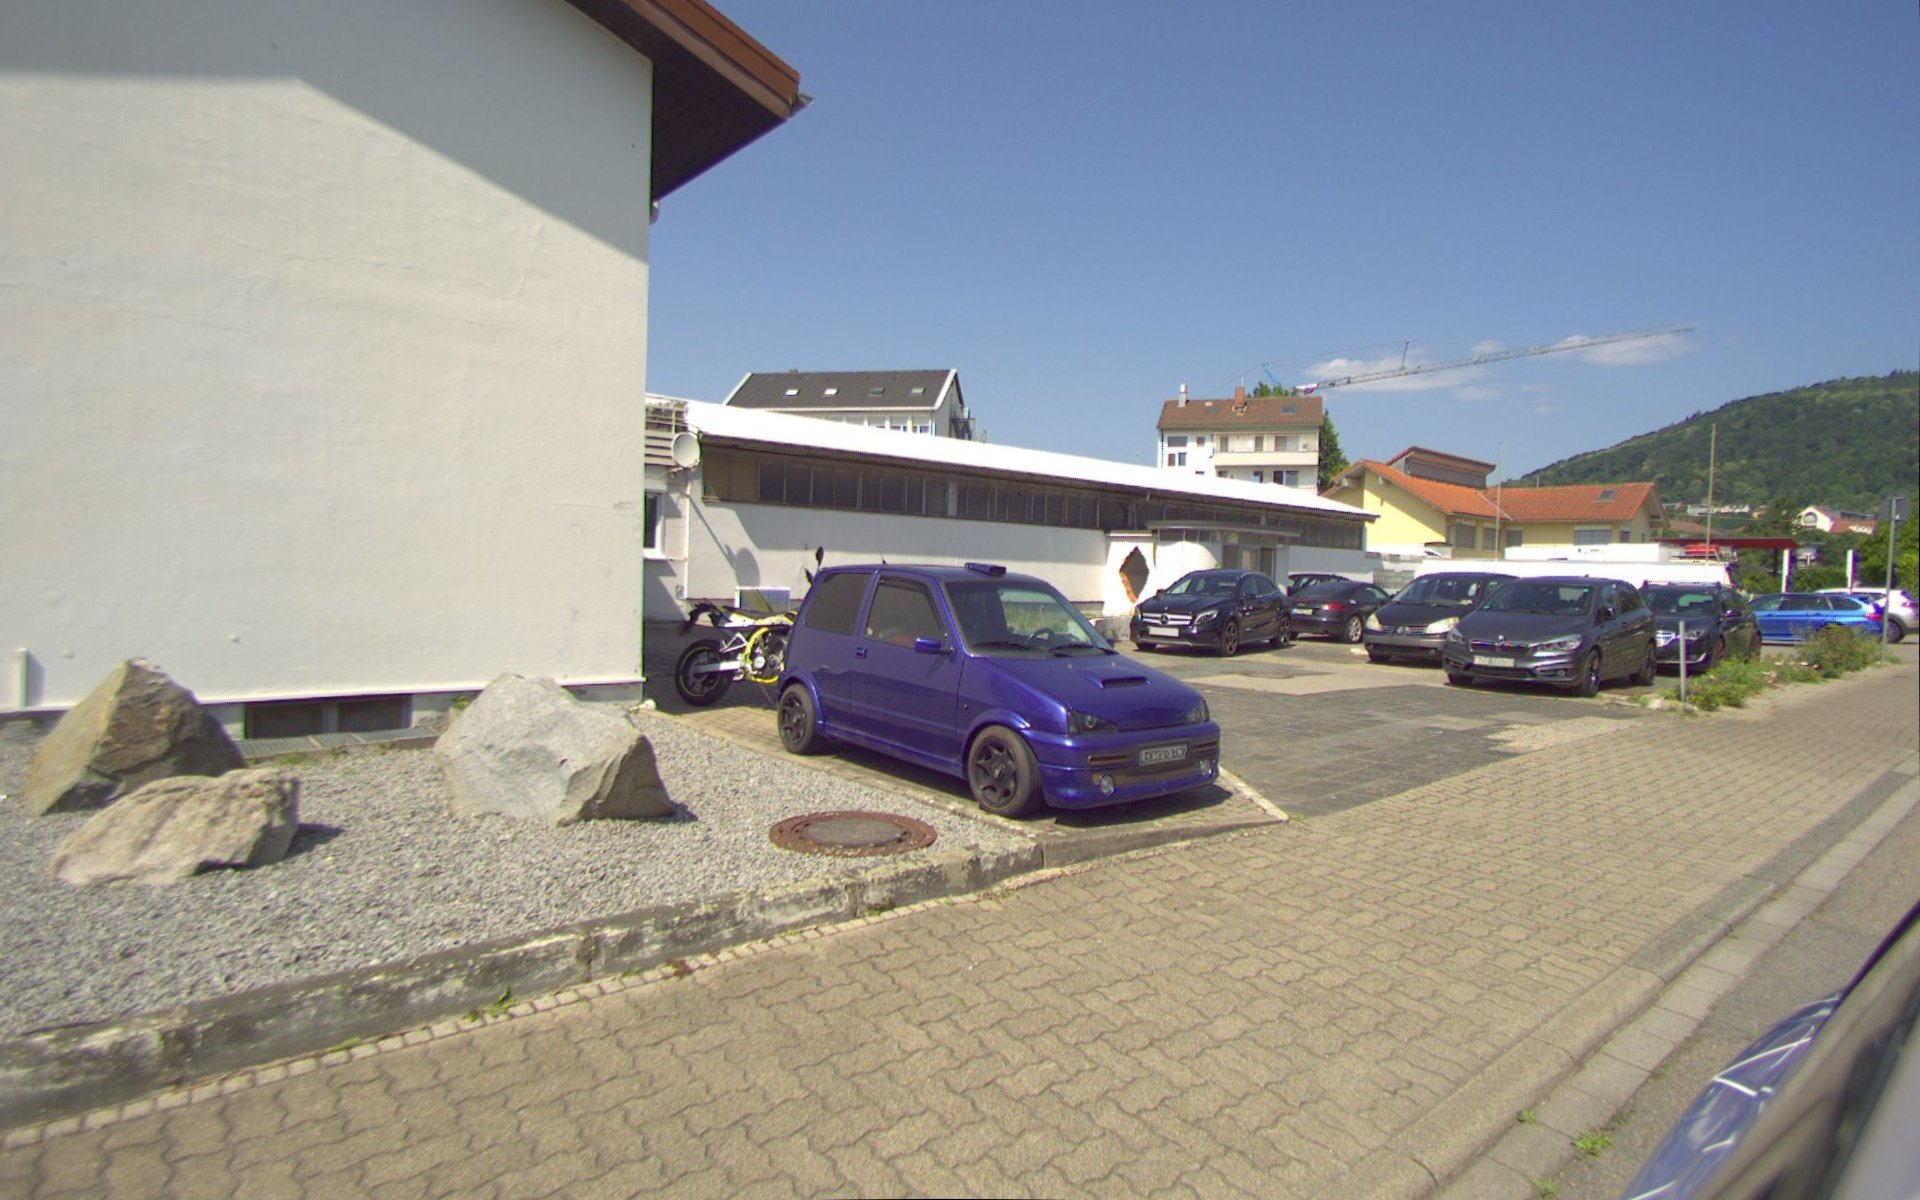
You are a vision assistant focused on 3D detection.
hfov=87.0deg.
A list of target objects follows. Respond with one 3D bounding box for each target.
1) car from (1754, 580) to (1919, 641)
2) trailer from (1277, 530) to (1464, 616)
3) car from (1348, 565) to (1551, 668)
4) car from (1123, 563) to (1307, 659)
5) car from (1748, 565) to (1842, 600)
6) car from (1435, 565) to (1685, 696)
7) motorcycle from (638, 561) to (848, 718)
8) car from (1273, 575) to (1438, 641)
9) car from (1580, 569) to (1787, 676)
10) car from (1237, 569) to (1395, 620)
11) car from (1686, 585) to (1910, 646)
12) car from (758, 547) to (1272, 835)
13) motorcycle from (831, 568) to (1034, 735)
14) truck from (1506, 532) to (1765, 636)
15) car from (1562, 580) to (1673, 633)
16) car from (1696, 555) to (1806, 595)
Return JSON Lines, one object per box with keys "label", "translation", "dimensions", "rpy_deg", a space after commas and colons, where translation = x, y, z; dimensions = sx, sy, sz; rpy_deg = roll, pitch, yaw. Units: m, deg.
{"label": "car", "translation": [26.829, 0.331, 30.548], "dimensions": [1.736, 1.703, 4.207], "rpy_deg": [-1, -1, -40]}
{"label": "trailer", "translation": [20.345, -1.429, 50.725], "dimensions": [3.009, 3.910, 8.365], "rpy_deg": [0, 2, -34]}
{"label": "car", "translation": [8.539, 0.244, 17.579], "dimensions": [3.552, 1.615, 1.764], "rpy_deg": [0, 1, -37]}
{"label": "car", "translation": [4.860, 0.132, 18.929], "dimensions": [1.757, 1.514, 4.092], "rpy_deg": [4, 4, 38]}
{"label": "car", "translation": [58.033, -1.242, 70.459], "dimensions": [1.885, 2.176, 4.589], "rpy_deg": [1, 3, -22]}
{"label": "car", "translation": [8.661, 0.346, 14.458], "dimensions": [4.218, 1.577, 1.815], "rpy_deg": [0, 2, -41]}
{"label": "motorcycle", "translation": [-2.020, 0.318, 9.448], "dimensions": [1.733, 1.295, 0.792], "rpy_deg": [3, 3, 20]}
{"label": "car", "translation": [9.016, 0.139, 22.967], "dimensions": [4.025, 1.340, 1.646], "rpy_deg": [0, 2, -38]}
{"label": "car", "translation": [12.804, 0.319, 17.773], "dimensions": [4.865, 1.587, 1.862], "rpy_deg": [0, 2, -41]}
{"label": "car", "translation": [10.266, -0.157, 29.211], "dimensions": [4.099, 1.341, 1.719], "rpy_deg": [1, 2, -20]}
{"label": "car", "translation": [22.280, 0.361, 27.045], "dimensions": [1.859, 1.460, 4.361], "rpy_deg": [0, 0, -40]}
{"label": "car", "translation": [0.182, 0.402, 6.802], "dimensions": [1.643, 1.416, 3.261], "rpy_deg": [2, 1, -39]}
{"label": "motorcycle", "translation": [-0.296, 0.401, 9.270], "dimensions": [0.783, 1.295, 1.872], "rpy_deg": [0, 4, -42]}
{"label": "truck", "translation": [24.691, -0.476, 37.396], "dimensions": [2.482, 3.467, 7.532], "rpy_deg": [0, -1, -39]}
{"label": "car", "translation": [20.339, 0.156, 31.242], "dimensions": [4.381, 1.459, 1.888], "rpy_deg": [-1, 3, -44]}
{"label": "car", "translation": [58.163, -1.858, 74.579], "dimensions": [5.963, 2.711, 2.239], "rpy_deg": [3, 3, 28]}
